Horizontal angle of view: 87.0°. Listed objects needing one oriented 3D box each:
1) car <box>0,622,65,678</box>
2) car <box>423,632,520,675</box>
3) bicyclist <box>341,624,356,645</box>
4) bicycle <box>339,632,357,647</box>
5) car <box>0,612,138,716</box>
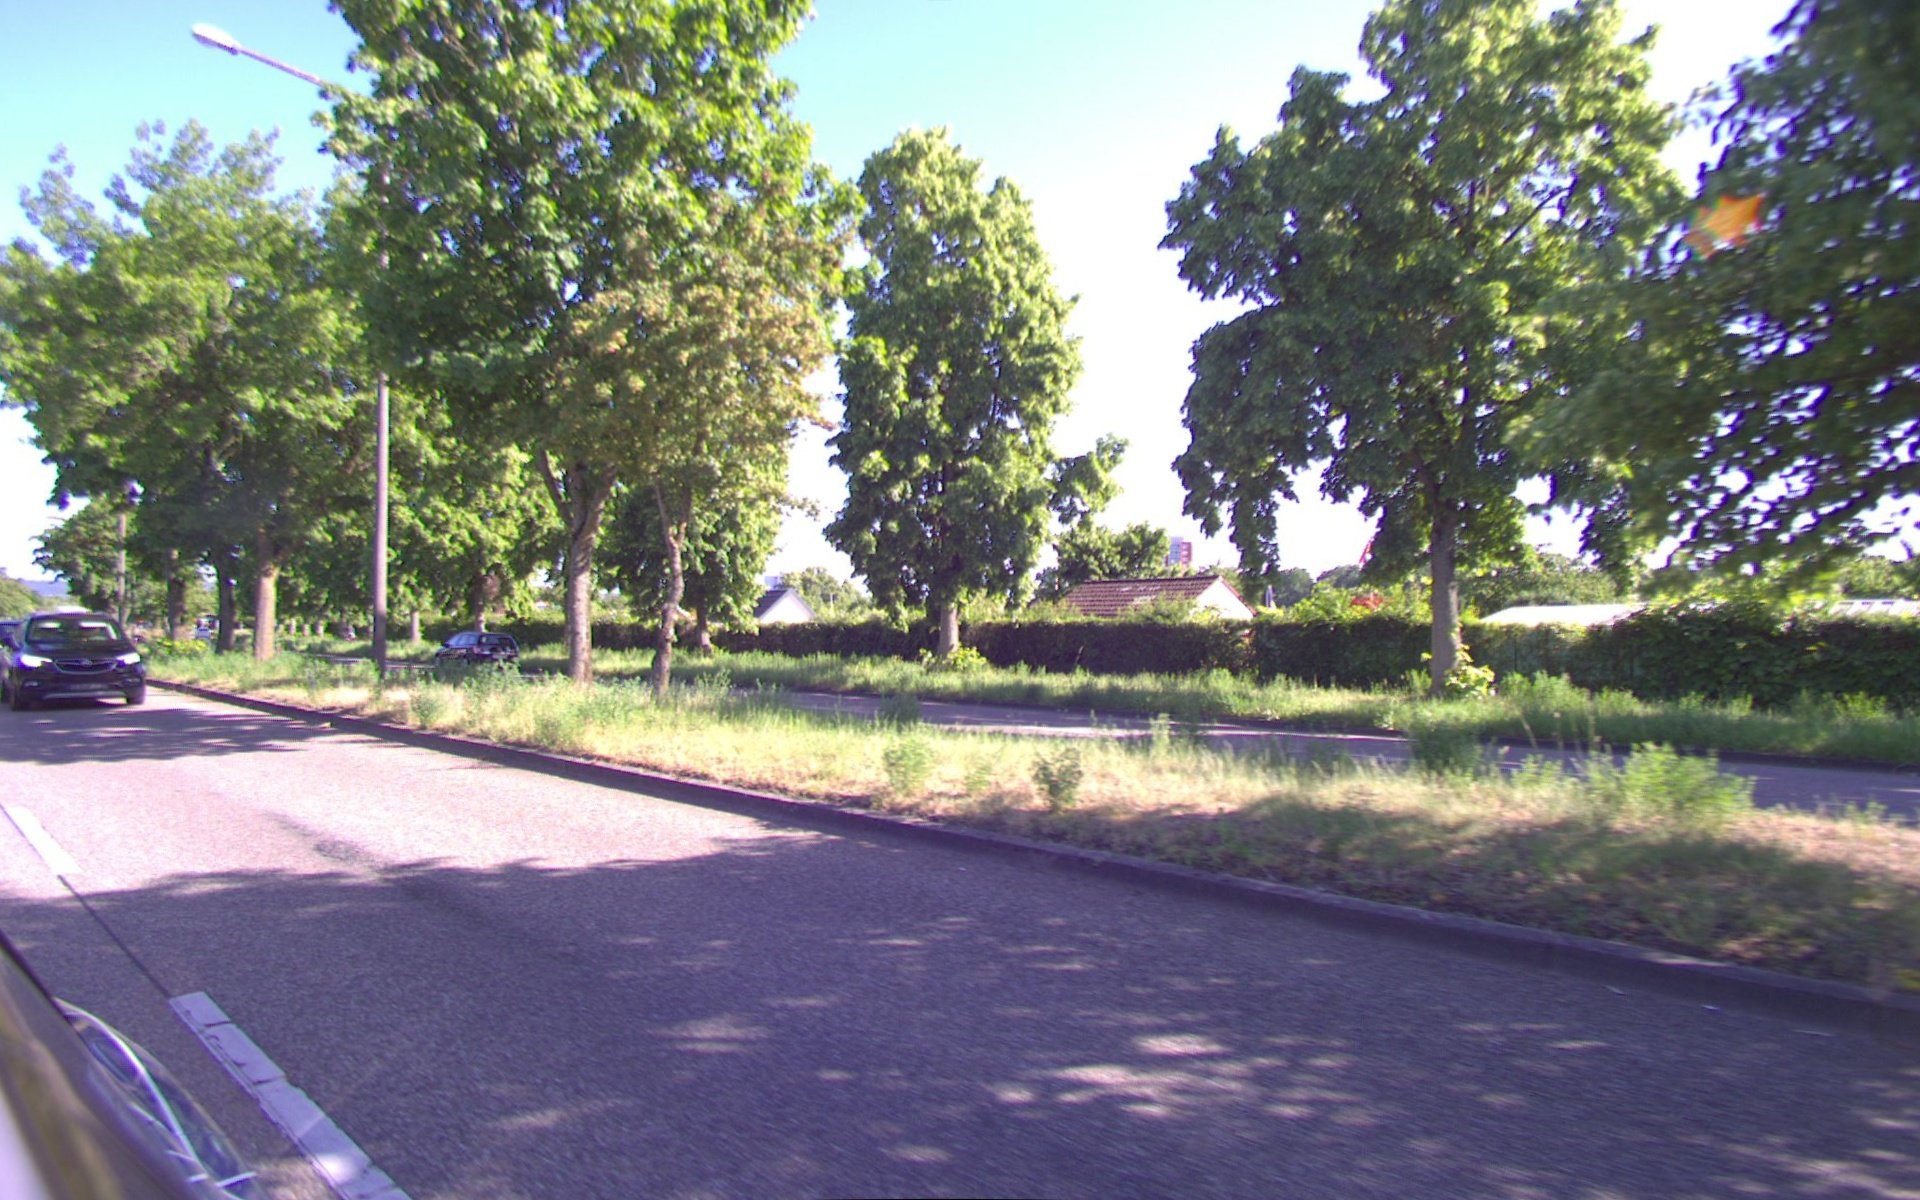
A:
[{"bbox_3d":[-28.233,1.466,30.458,1.796,1.574,4.653,1,-2,-40],"label":"car"},{"bbox_3d":[-17.716,1.903,36.604,1.672,1.447,4.944,4,-4,-44],"label":"car"},{"bbox_3d":[-41.965,2.356,69.401,0.681,1.432,1.001,2,-2,-43],"label":"bicyclist"},{"bbox_3d":[-41.971,2.693,69.392,0.681,1.004,1.843,1,-2,-43],"label":"bicycle"},{"bbox_3d":[-16.096,1.048,18.204,1.784,1.627,4.520,1,-1,-42],"label":"car"}]
